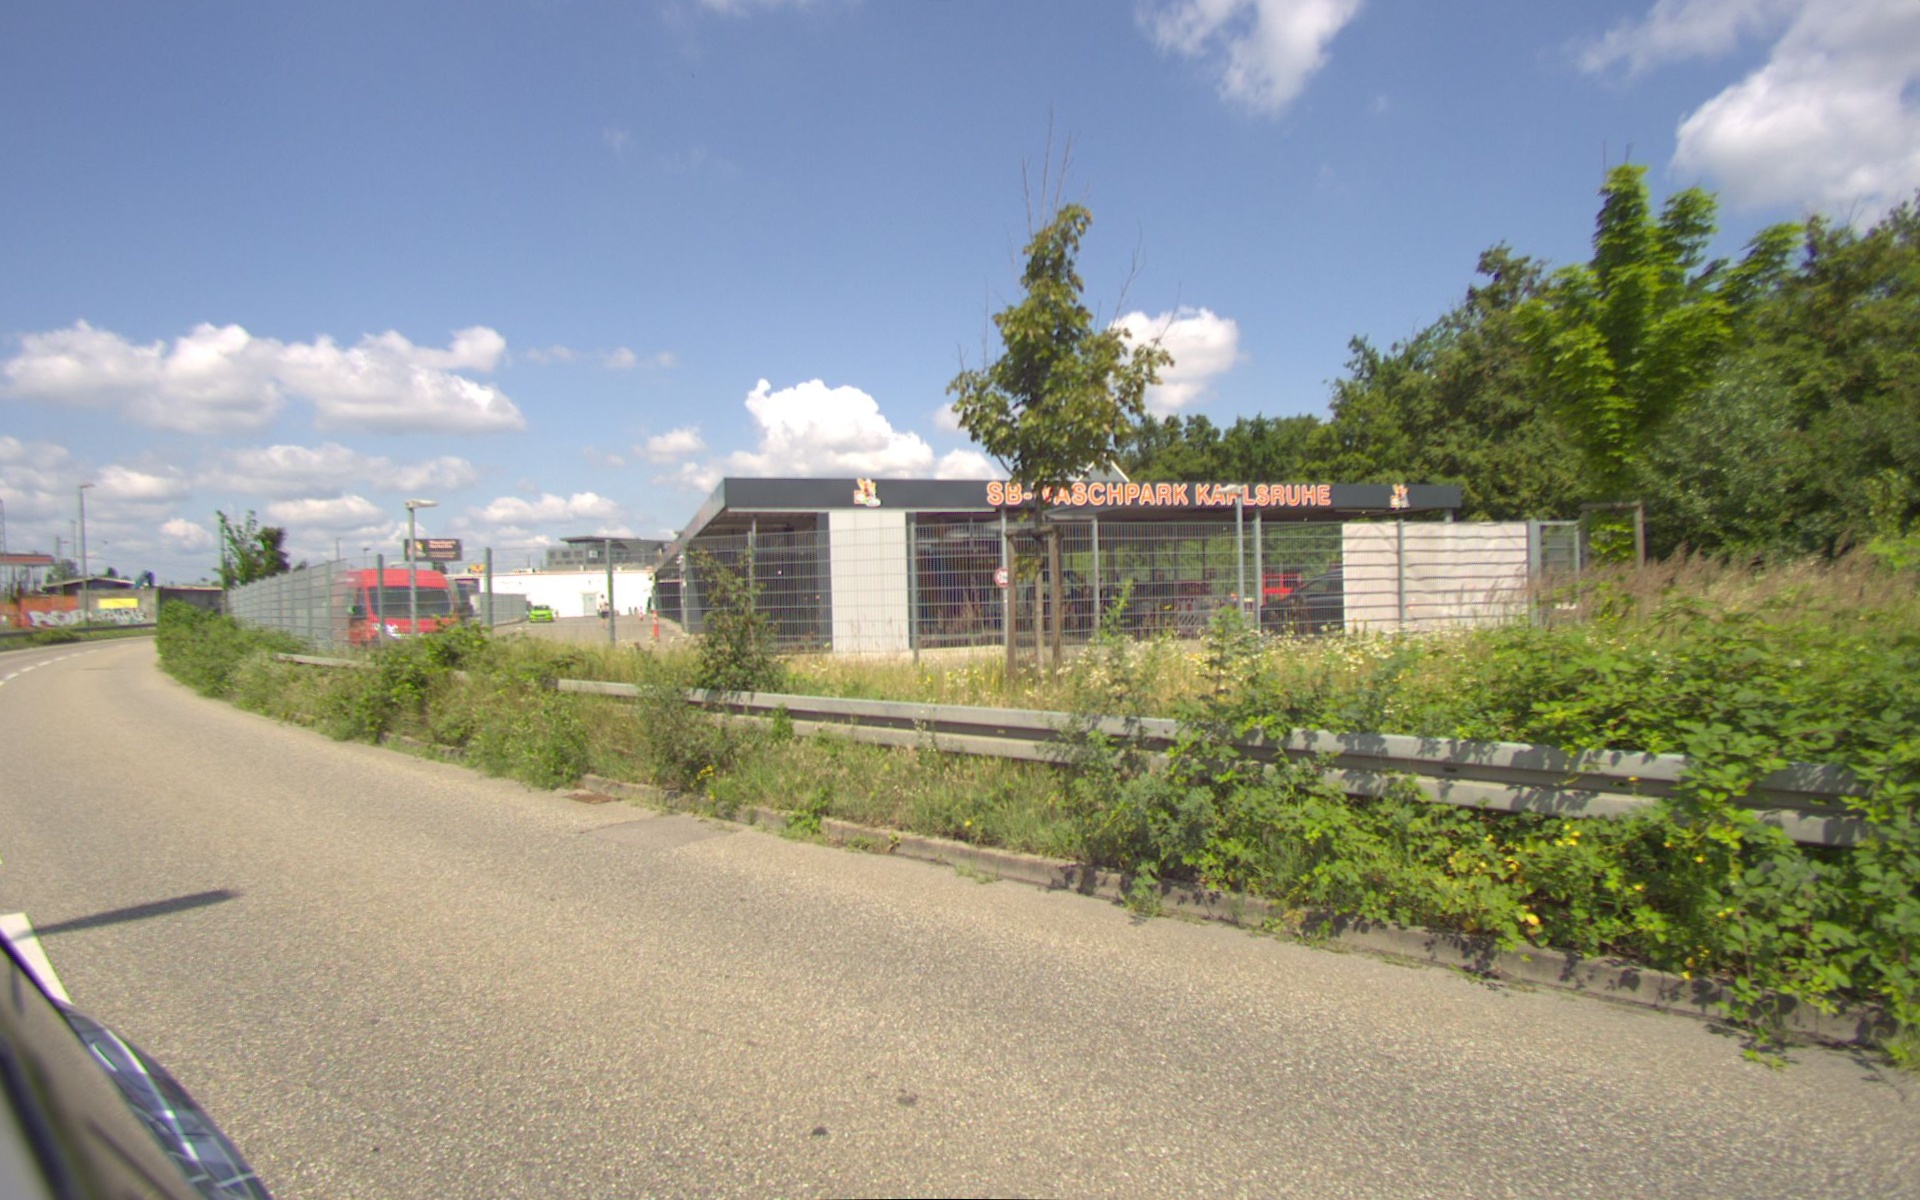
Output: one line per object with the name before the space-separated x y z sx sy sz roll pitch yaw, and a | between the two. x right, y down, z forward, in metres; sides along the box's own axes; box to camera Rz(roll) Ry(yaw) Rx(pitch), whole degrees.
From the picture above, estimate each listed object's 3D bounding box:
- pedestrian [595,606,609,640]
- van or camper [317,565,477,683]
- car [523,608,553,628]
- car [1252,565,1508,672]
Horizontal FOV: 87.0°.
pedestrian | -18.732 1.180 52.928 0.683 1.762 0.747 -1 0 -19
van or camper | -13.793 0.585 24.579 2.161 2.533 5.709 2 -2 -42
car | -34.791 1.475 83.460 1.889 1.493 4.313 -2 1 -18
car | 7.811 0.313 19.384 1.966 1.706 4.561 -3 1 -18
